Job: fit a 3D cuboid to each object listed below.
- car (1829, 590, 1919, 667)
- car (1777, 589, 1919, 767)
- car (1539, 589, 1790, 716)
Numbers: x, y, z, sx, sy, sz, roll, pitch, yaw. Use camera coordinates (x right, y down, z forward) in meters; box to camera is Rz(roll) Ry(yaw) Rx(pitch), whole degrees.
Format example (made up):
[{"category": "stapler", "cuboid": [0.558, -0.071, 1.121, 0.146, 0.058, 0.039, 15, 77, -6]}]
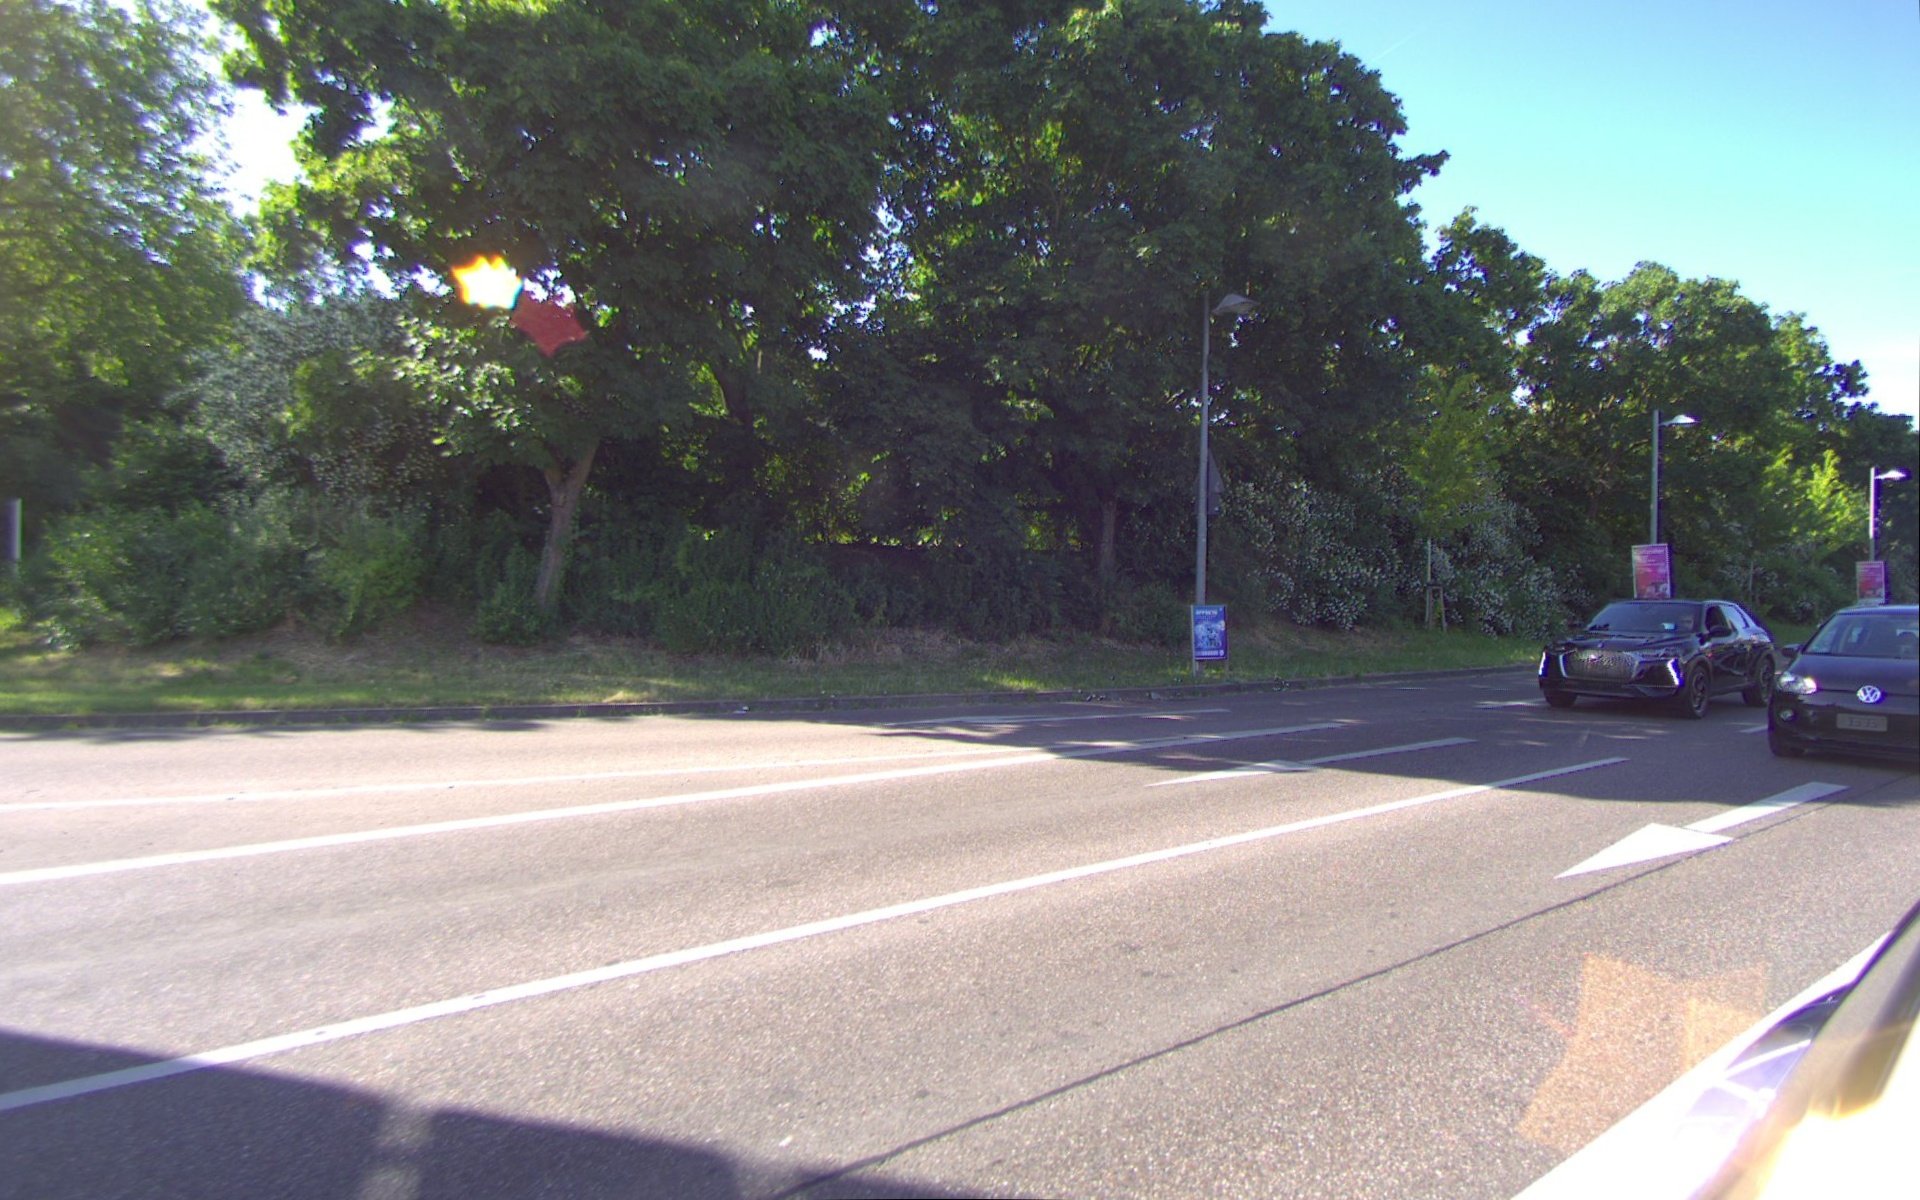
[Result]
[{"category": "car", "cuboid": [19.743, 0.524, 20.944, 4.304, 1.454, 1.750, -1, 1, -36]}, {"category": "car", "cuboid": [9.385, 0.660, 9.740, 3.389, 1.512, 1.622, 0, 0, -37]}, {"category": "car", "cuboid": [9.768, 0.608, 13.944, 3.890, 1.512, 1.714, 0, 1, -37]}]
